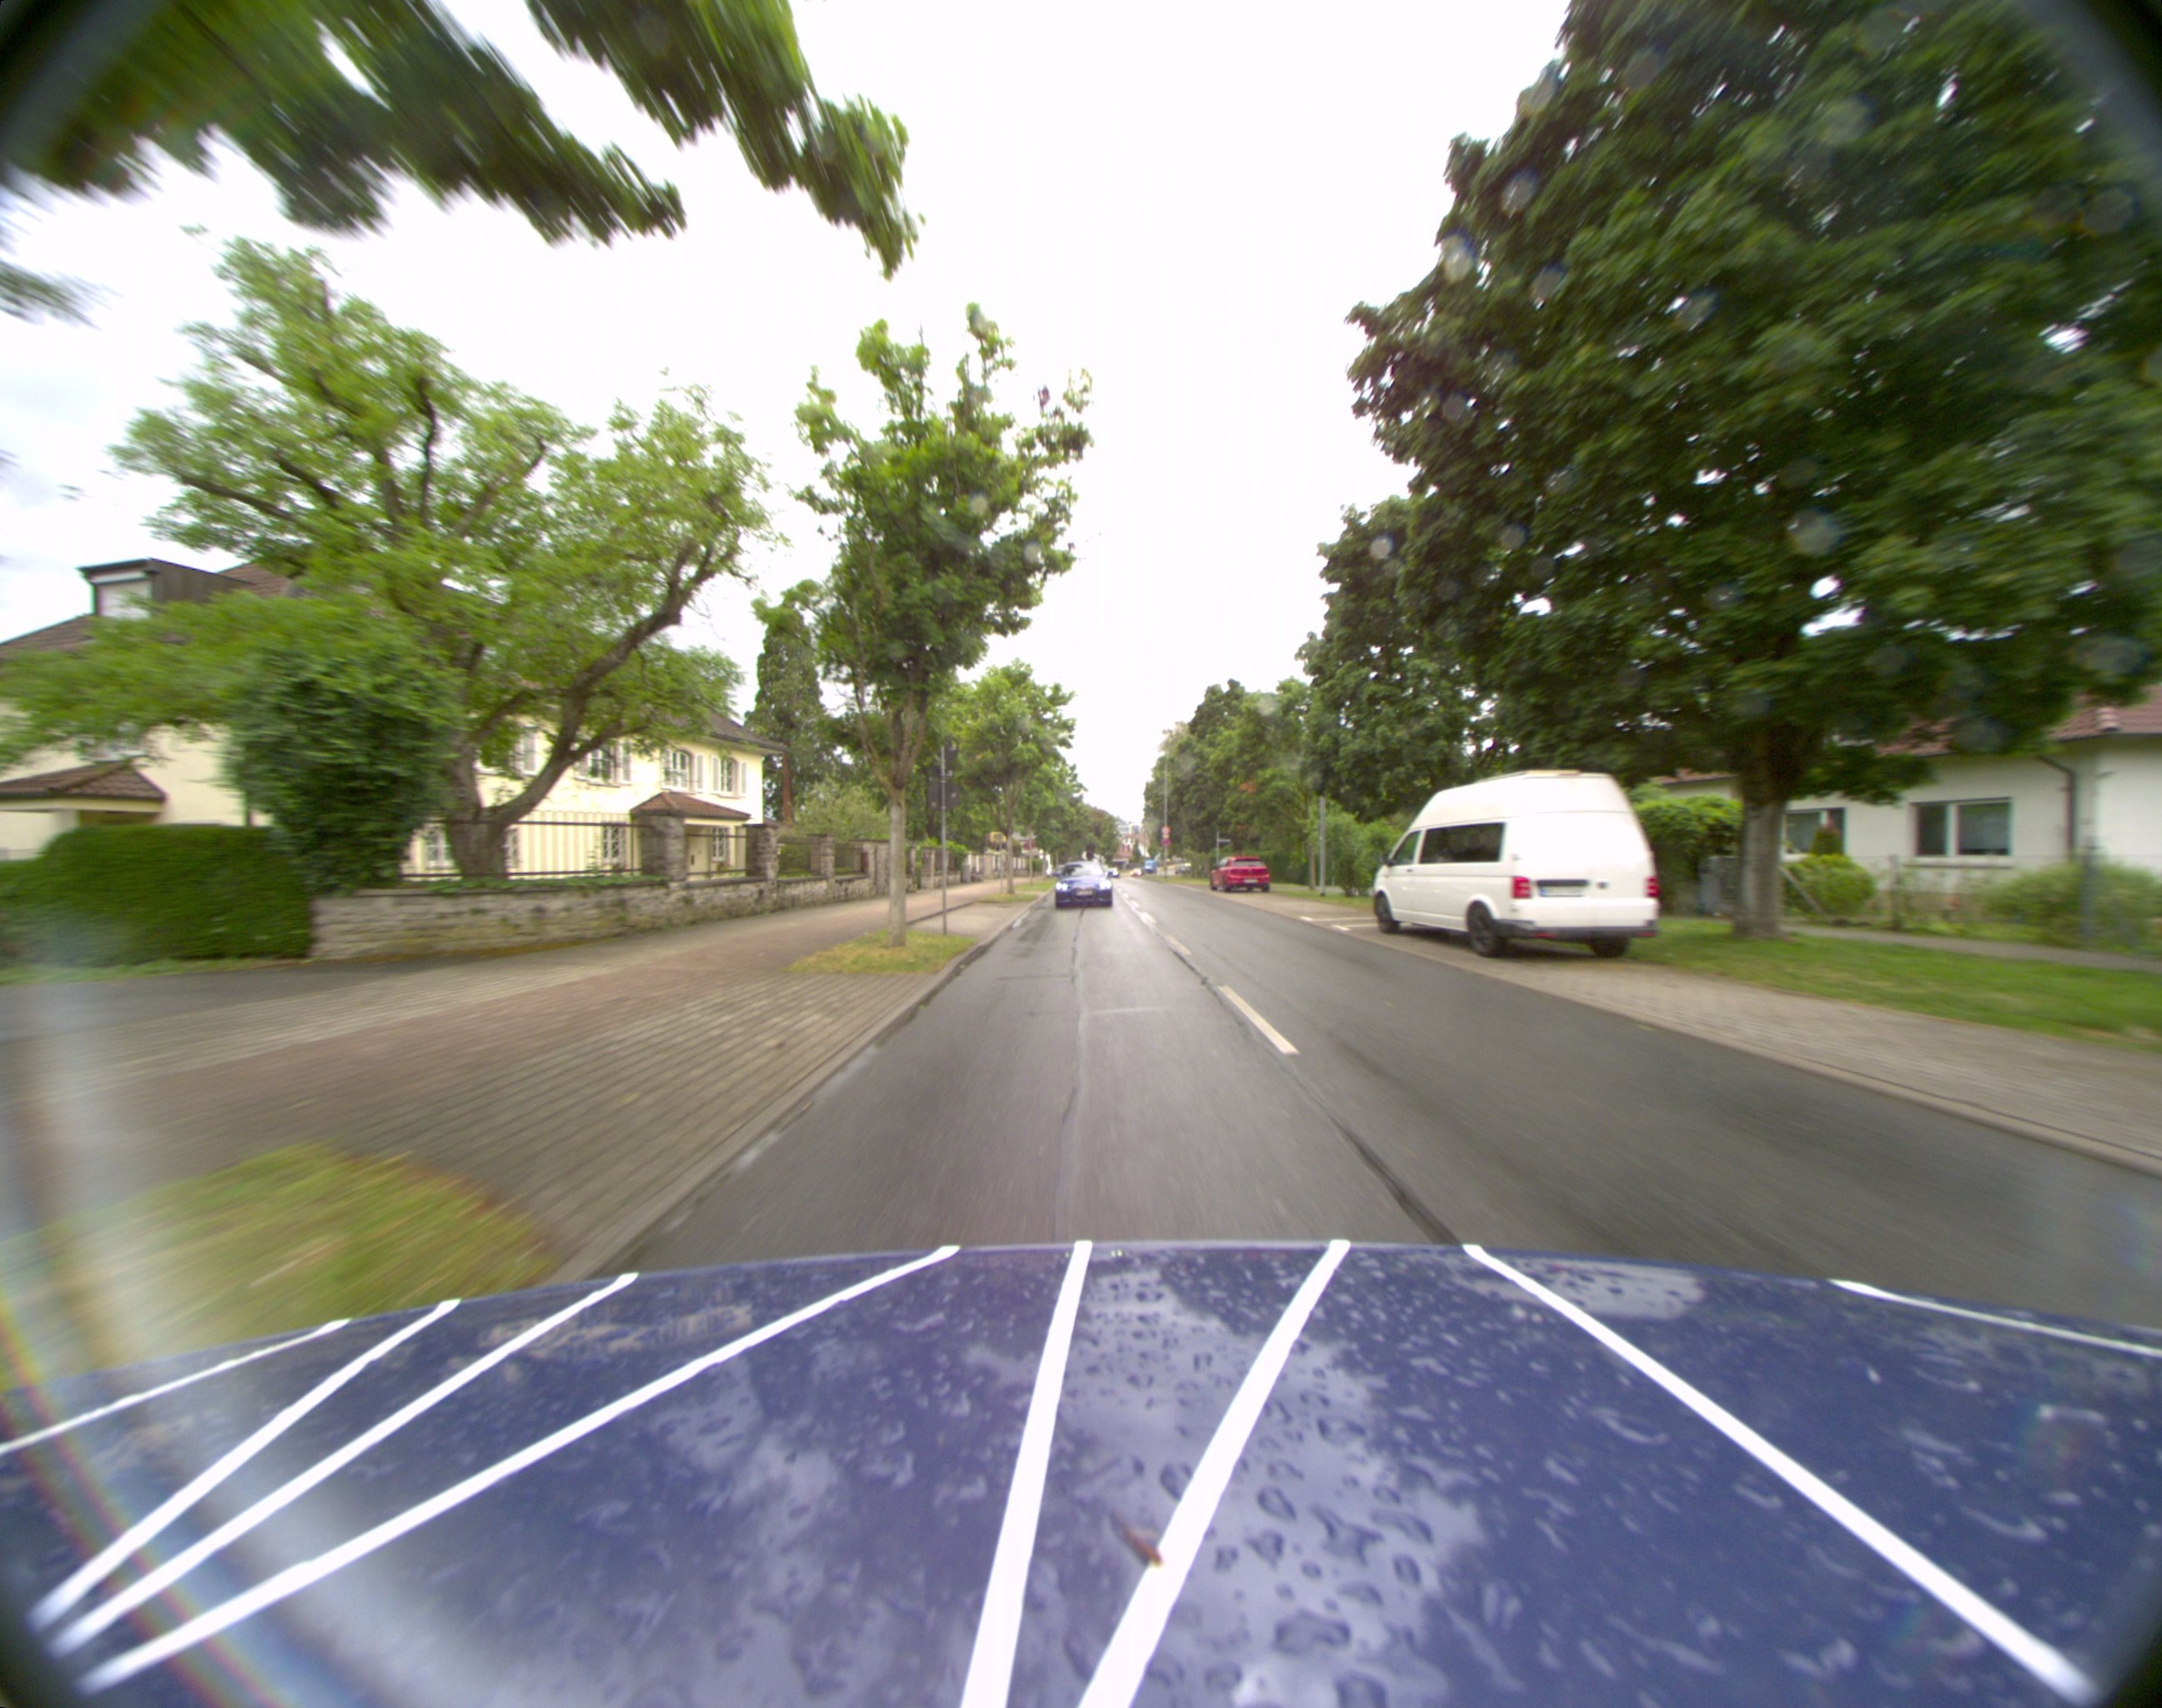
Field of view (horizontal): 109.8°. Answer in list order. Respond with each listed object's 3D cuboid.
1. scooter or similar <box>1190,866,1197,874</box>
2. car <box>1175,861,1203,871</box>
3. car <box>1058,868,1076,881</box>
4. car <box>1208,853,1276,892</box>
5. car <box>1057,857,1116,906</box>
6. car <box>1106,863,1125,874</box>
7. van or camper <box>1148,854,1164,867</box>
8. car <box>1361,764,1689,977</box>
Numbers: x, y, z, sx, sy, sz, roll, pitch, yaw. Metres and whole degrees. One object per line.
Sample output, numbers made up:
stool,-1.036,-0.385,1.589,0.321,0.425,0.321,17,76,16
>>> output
scooter or similar,17.113,2.468,115.240,0.424,1.151,1.493,-3,-2,36
car,17.932,2.016,126.272,4.434,1.408,1.758,-4,-1,16
car,-1.517,2.232,84.028,1.645,1.369,3.831,1,-1,4
car,6.450,0.733,30.881,1.848,1.457,4.250,-1,0,0
car,0.241,0.940,26.978,1.895,1.531,4.001,-2,-1,2
car,4.958,2.120,109.532,1.893,1.531,4.005,-2,-1,14
van or camper,15.552,1.358,156.928,2.146,2.594,5.789,1,1,17
car,6.299,0.206,11.737,1.998,2.546,5.232,0,0,0
